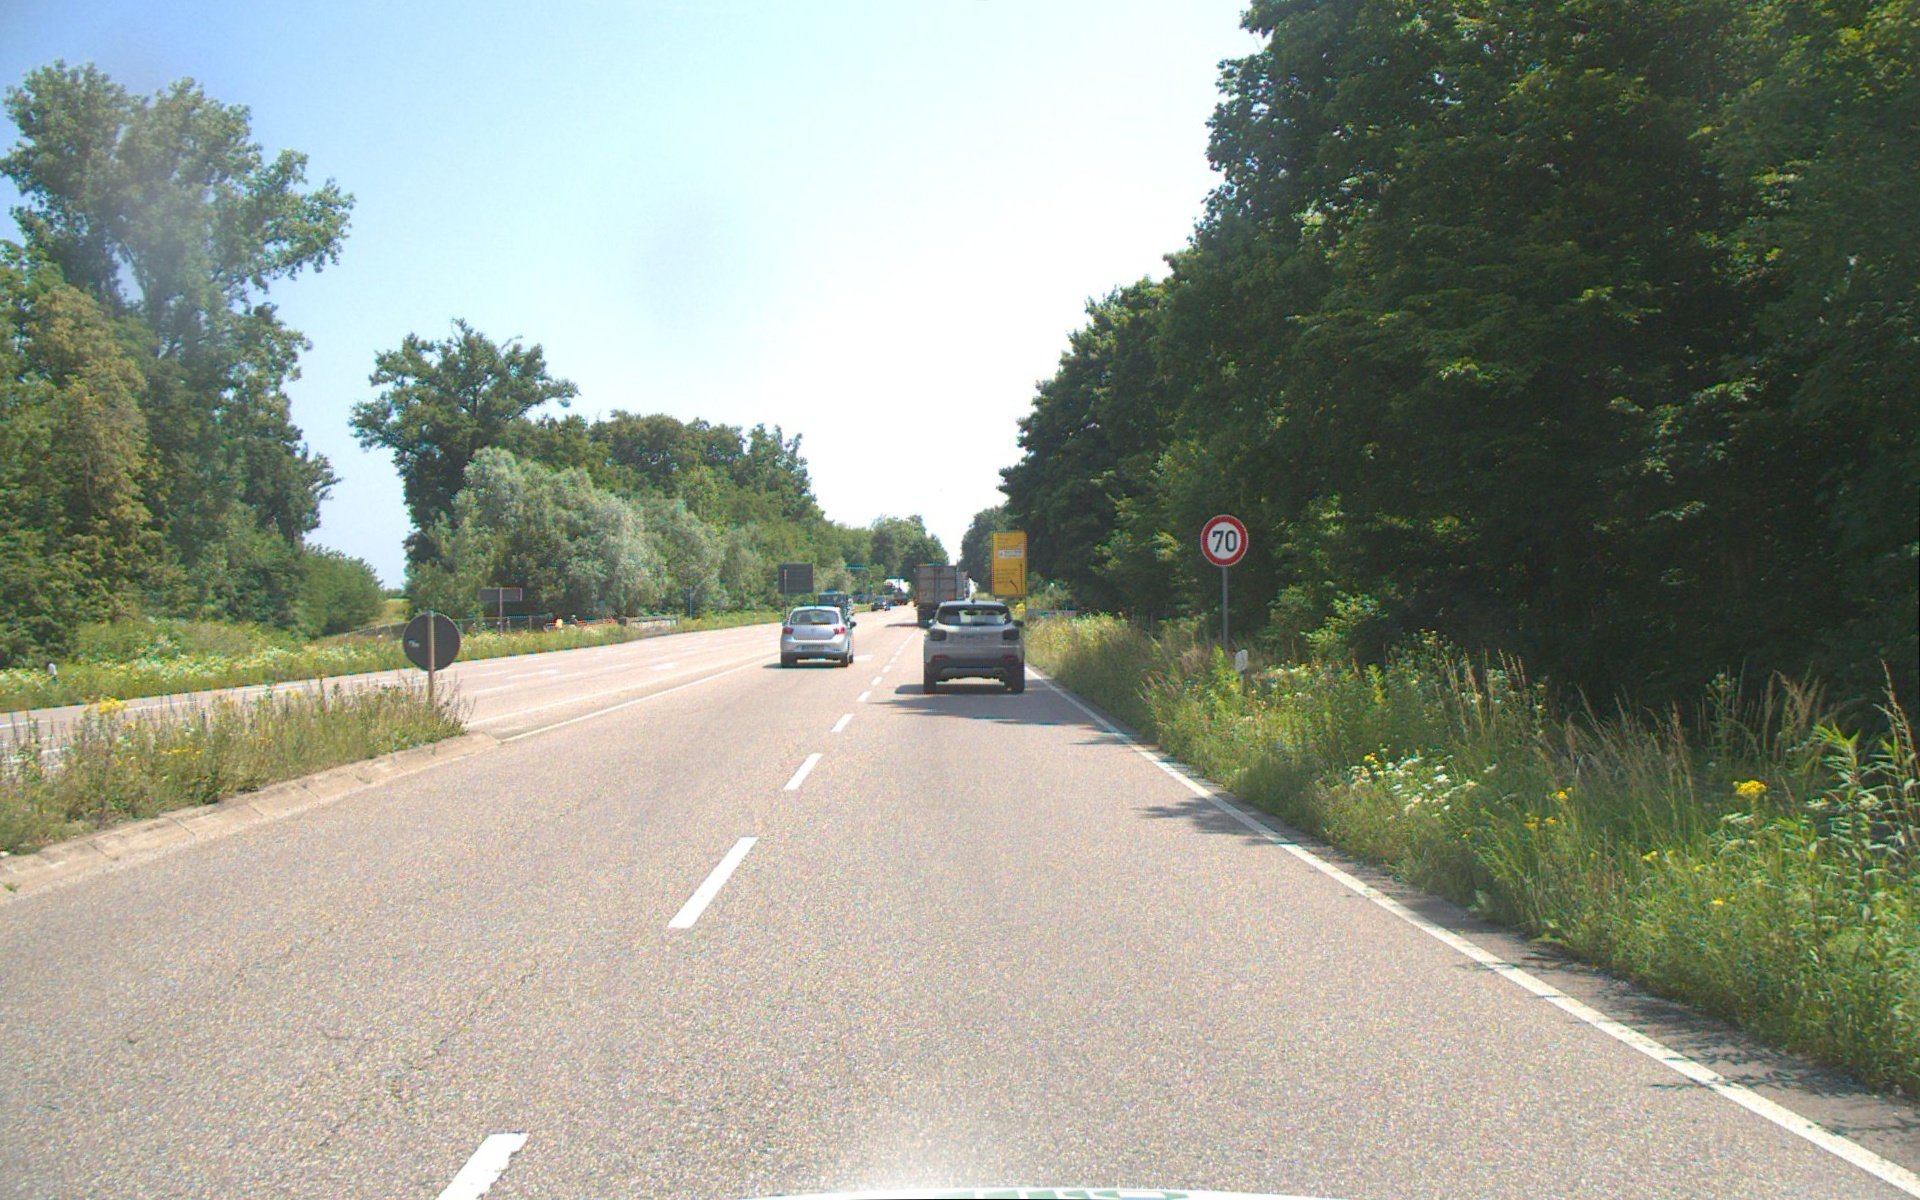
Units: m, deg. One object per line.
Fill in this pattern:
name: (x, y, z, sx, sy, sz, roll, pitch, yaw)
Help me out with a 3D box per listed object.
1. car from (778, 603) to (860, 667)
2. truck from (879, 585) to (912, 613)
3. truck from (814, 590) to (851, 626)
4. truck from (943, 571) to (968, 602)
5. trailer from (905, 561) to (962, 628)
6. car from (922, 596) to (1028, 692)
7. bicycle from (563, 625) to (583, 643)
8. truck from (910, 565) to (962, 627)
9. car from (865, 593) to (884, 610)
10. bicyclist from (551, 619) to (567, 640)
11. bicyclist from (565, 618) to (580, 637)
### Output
car: (-3.418, 0.825, 40.584, 1.631, 1.455, 3.828, 0, 0, 1)
truck: (-10.013, -0.163, 255.387, 3.581, 4.177, 9.483, -2, 0, -11)
truck: (-10.552, 0.632, 137.452, 2.404, 2.702, 6.491, -4, 0, 0)
truck: (-0.696, -1.848, 231.873, 3.426, 4.261, 10.782, 0, 0, -1)
trailer: (-1.606, -0.317, 106.383, 3.313, 4.058, 10.805, 0, 0, 1)
car: (0.275, 0.731, 29.483, 1.731, 1.561, 4.000, -1, 0, 1)
bicycle: (-24.592, 2.155, 105.056, 0.591, 1.023, 1.557, -3, 0, 11)
truck: (-1.541, -0.249, 111.359, 3.264, 4.058, 6.534, 0, 0, 1)
car: (-10.222, 0.134, 198.136, 1.953, 1.914, 4.959, -2, 0, -1)
bicyclist: (-24.668, 1.828, 101.839, 0.741, 1.216, 0.592, -3, 0, 10)
bicyclist: (-24.615, 1.743, 105.010, 0.719, 1.216, 0.592, -3, -1, 11)
